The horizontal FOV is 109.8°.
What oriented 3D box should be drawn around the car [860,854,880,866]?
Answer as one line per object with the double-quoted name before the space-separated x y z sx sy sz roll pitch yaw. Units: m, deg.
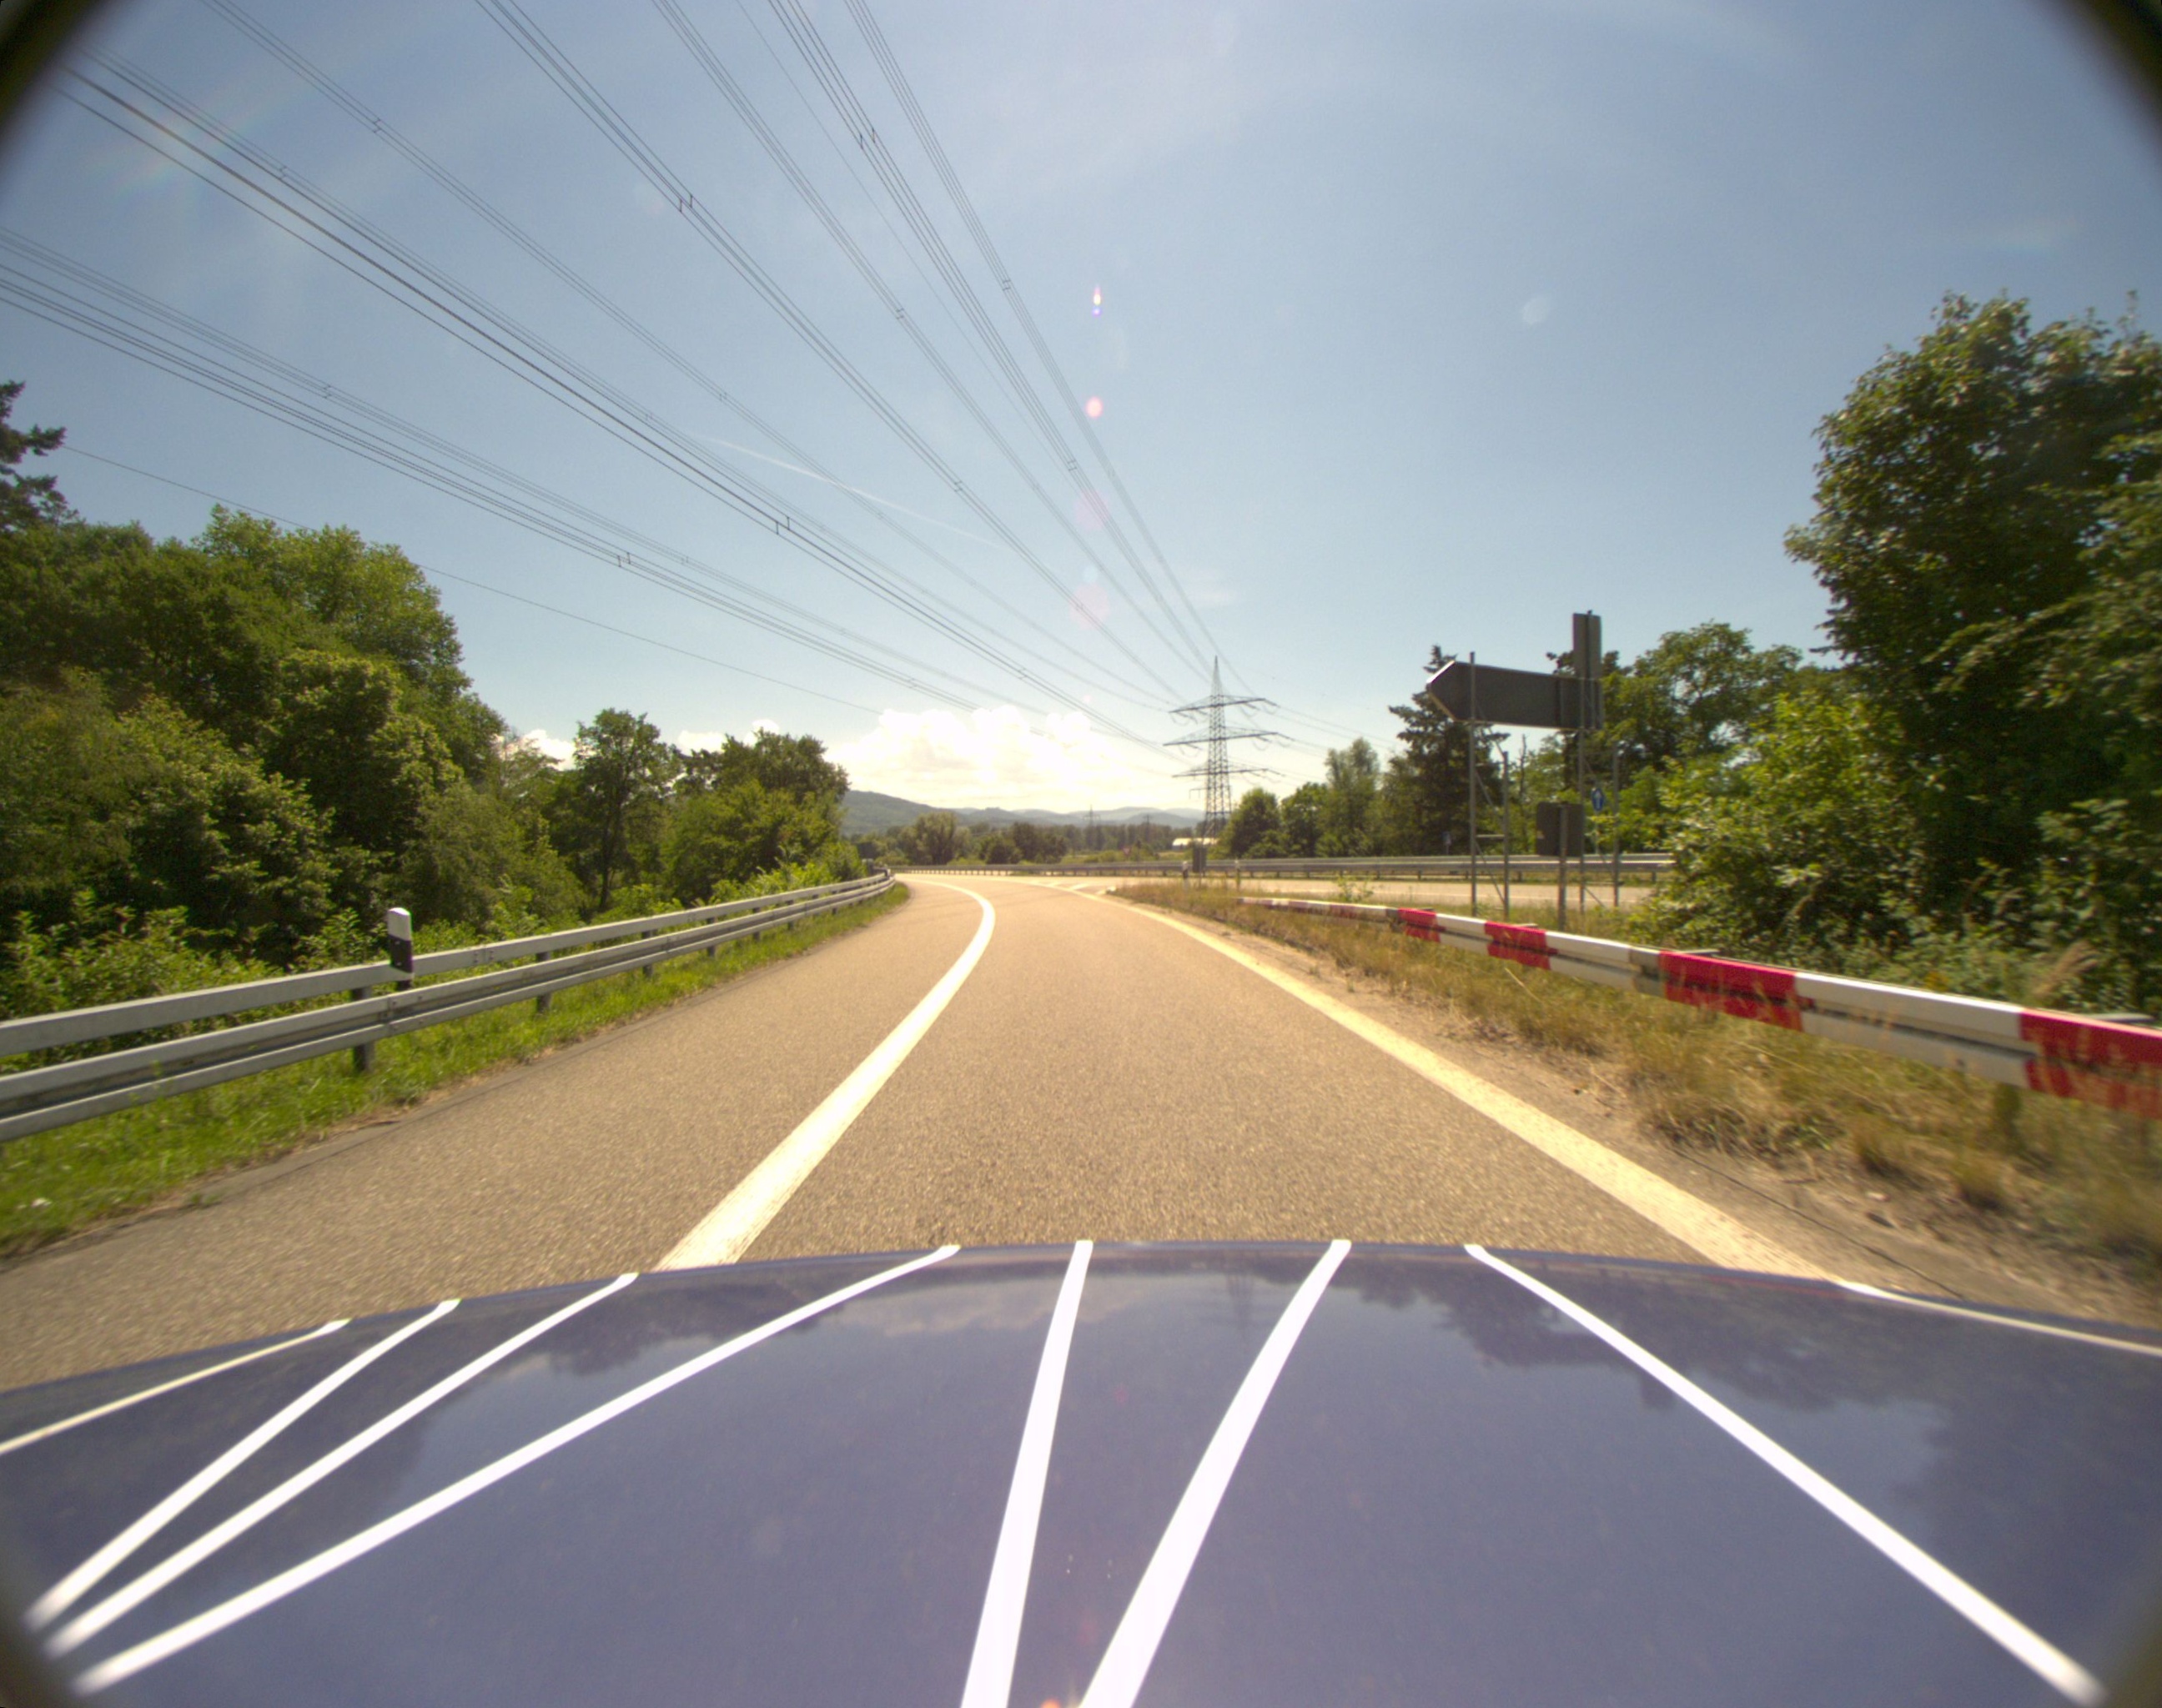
"car" -48.687 1.456 175.094 2.537 2.602 7.168 1 -1 -32
